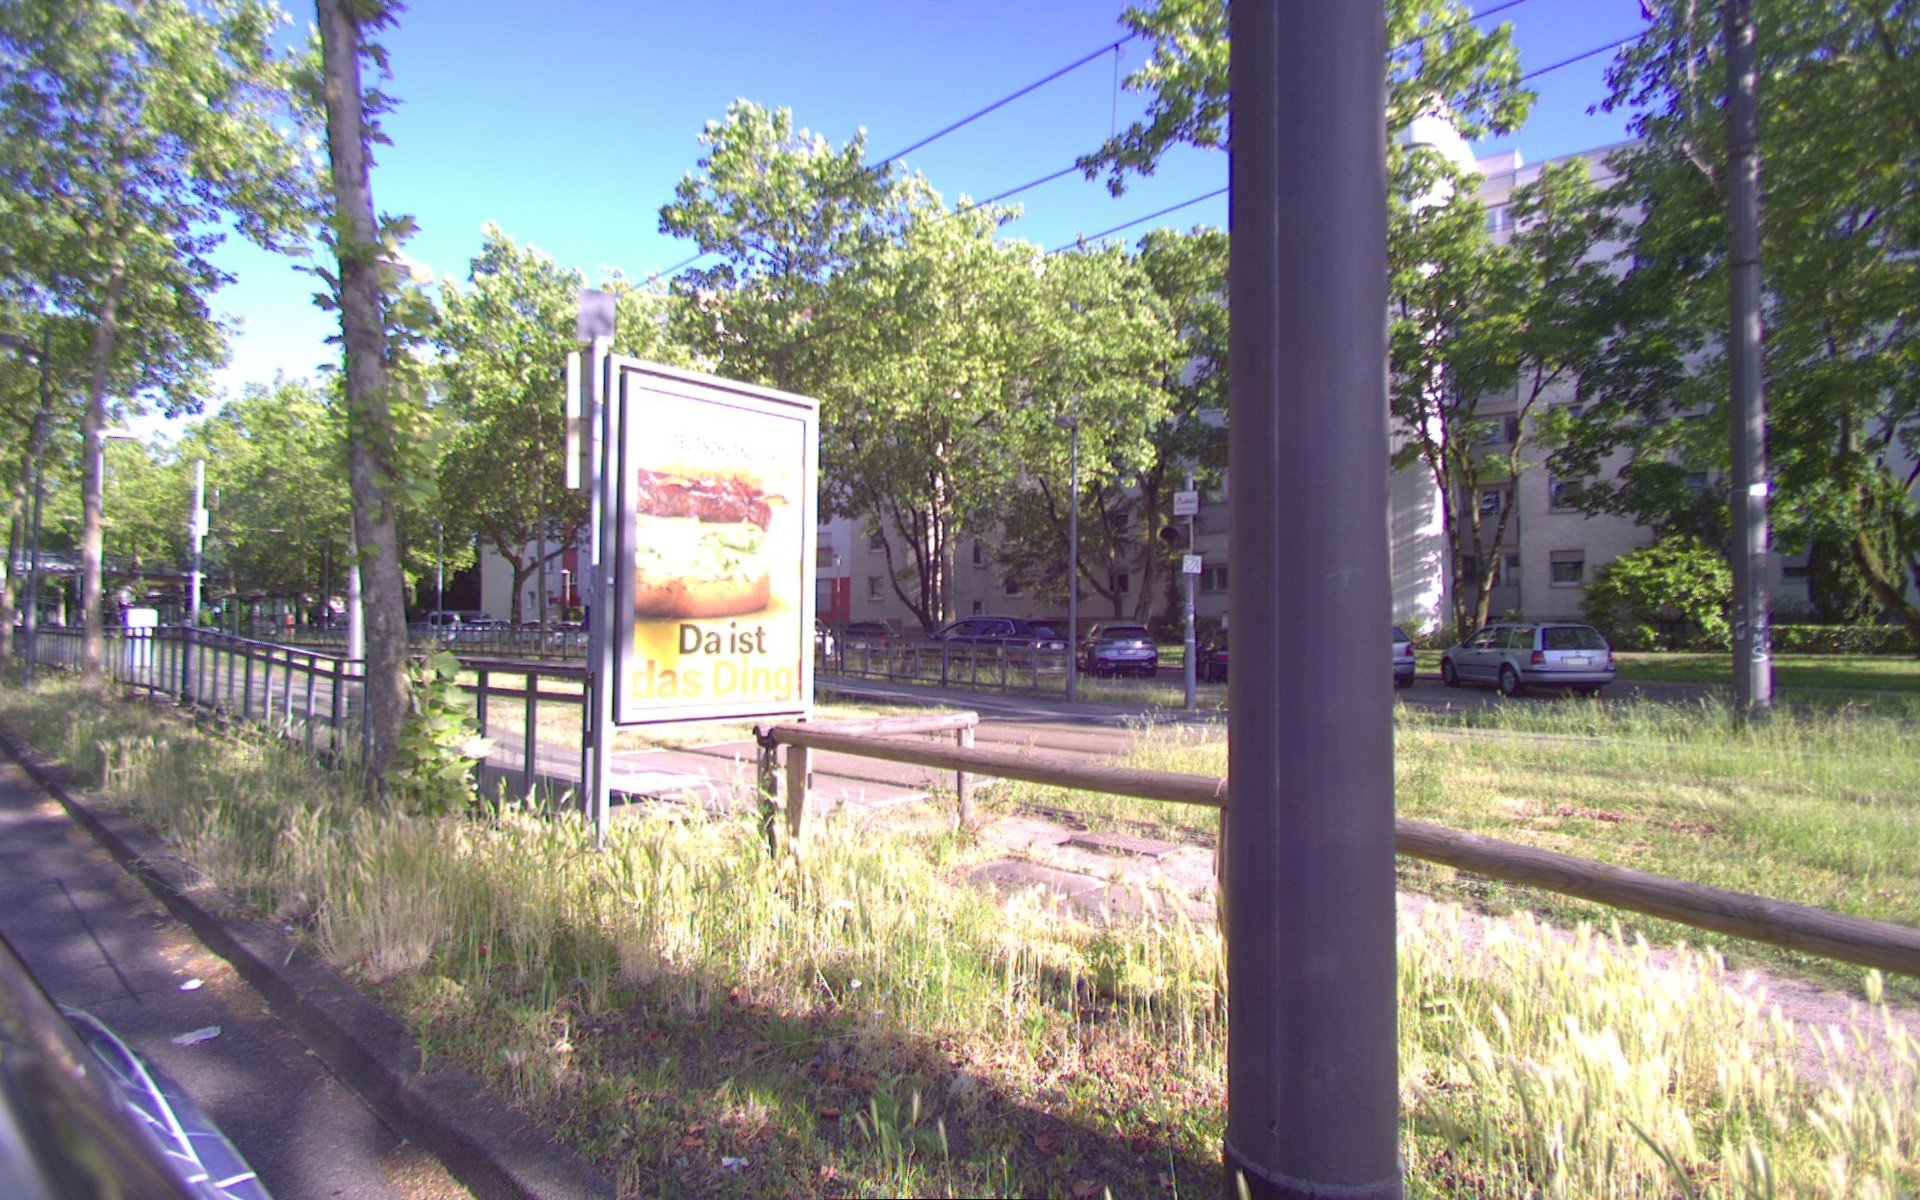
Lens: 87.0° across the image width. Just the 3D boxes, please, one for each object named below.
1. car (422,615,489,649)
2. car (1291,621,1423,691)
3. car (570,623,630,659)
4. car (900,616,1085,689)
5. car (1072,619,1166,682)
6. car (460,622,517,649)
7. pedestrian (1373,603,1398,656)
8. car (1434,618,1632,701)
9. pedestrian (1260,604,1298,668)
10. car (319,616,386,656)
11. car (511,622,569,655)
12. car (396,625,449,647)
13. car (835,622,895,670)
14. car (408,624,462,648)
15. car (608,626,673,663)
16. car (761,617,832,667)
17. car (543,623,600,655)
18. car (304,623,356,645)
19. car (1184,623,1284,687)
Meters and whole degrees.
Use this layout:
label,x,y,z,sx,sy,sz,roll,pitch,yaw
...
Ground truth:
label,x,y,z,sx,sy,sz,roll,pitch,yaw
car,-28.426,1.791,57.138,1.843,1.826,4.048,0,-1,-1
car,9.121,1.241,23.551,1.553,1.431,3.620,-1,-1,-1
car,-16.665,1.876,47.006,1.445,1.519,3.393,-1,0,3
car,0.689,1.146,23.317,4.100,1.523,1.746,-1,-2,41
car,4.252,1.306,27.639,1.650,1.469,4.004,-1,0,-4
car,-25.842,1.908,55.559,1.605,1.414,3.488,0,-1,-1
pedestrian,14.402,0.997,34.232,0.634,1.770,0.516,-1,-2,39
car,11.544,1.143,20.736,1.685,1.454,3.978,-1,0,-2
pedestrian,8.928,1.000,28.351,0.755,1.770,0.752,-1,-2,41
car,-31.360,1.824,52.198,4.652,2.007,1.772,-1,-2,43
car,-21.128,1.910,51.071,1.539,1.436,3.489,-3,0,-2
car,-33.086,2.180,62.390,1.459,1.311,3.488,0,-1,-1
car,-3.211,1.545,34.731,1.538,1.439,3.761,-1,0,3
car,-30.779,2.092,59.409,1.459,1.354,3.488,0,-1,-1
car,-14.005,1.915,44.590,1.470,1.425,3.880,-1,0,3
car,-5.954,1.506,37.247,1.791,1.607,3.997,-1,0,3
car,-18.914,1.882,49.393,1.459,1.339,3.488,-2,0,-1
car,-45.017,2.388,72.370,1.578,1.538,3.737,0,-1,-3
car,6.754,1.319,25.320,1.572,1.360,3.922,-1,0,3
